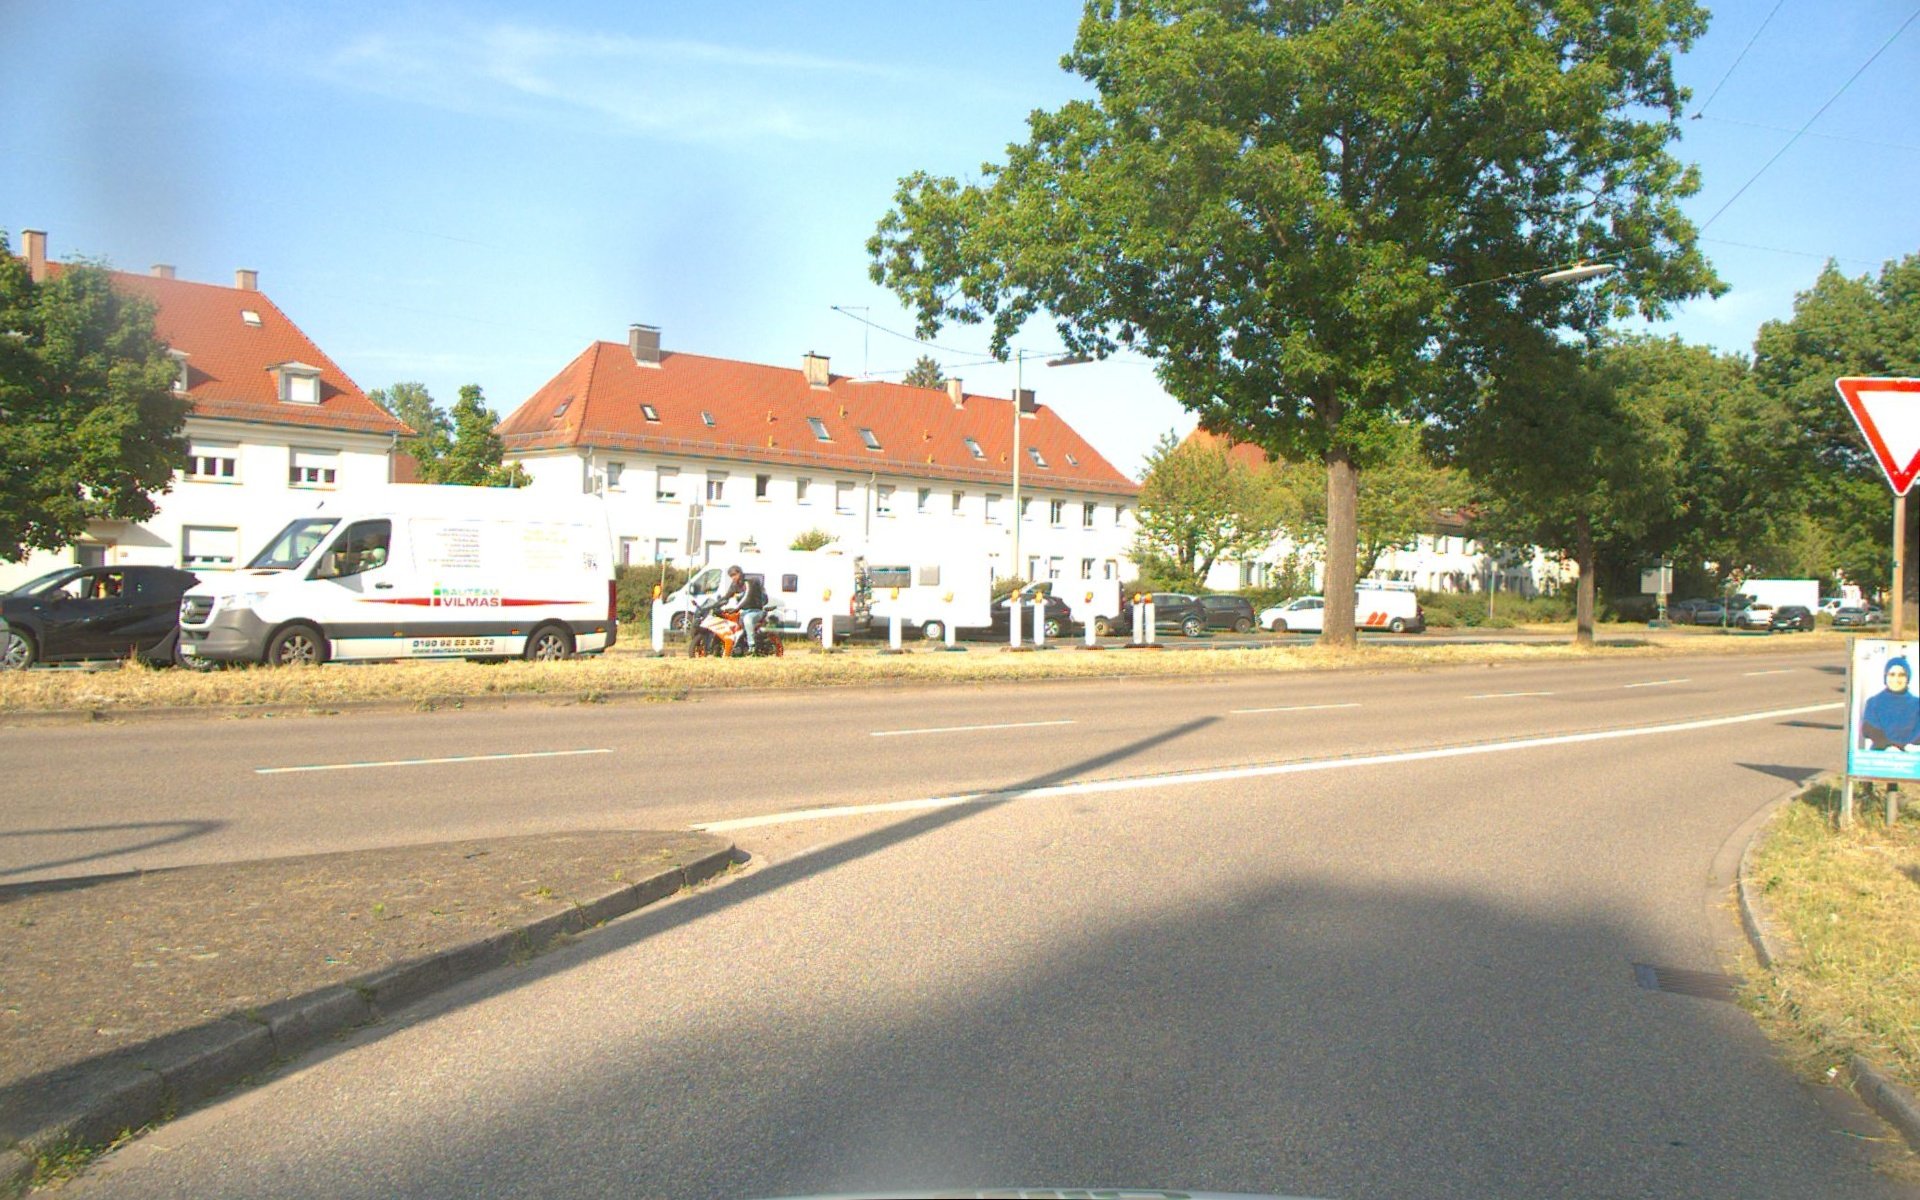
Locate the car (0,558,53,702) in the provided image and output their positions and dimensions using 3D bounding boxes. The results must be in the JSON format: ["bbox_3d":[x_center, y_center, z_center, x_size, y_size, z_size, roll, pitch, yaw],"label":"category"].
[{"bbox_3d":[-12.628,0.307,17.458,1.809,1.590,5.075,1,0,44],"label":"car"}]

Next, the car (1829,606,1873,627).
[{"bbox_3d":[66.756,1.255,123.894,1.884,1.476,4.252,0,-2,43],"label":"car"}]

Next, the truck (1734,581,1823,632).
[{"bbox_3d":[58.018,0.443,117.273,5.381,3.525,1.997,1,0,-7],"label":"truck"}]

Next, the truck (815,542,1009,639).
[{"bbox_3d":[-1.502,-0.300,51.938,5.937,2.904,1.895,1,0,-2],"label":"truck"}]

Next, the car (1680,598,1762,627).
[{"bbox_3d":[49.985,0.815,108.669,4.433,1.753,2.000,1,0,0],"label":"car"}]

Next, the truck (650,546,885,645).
[{"bbox_3d":[-5.435,-0.142,47.117,6.202,2.568,2.279,2,0,9],"label":"truck"}]

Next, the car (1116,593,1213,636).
[{"bbox_3d":[7.588,0.541,61.486,3.415,1.540,1.896,1,0,2],"label":"car"}]

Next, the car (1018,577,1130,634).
[{"bbox_3d":[4.069,0.182,59.216,3.818,1.953,1.895,1,0,-2],"label":"car"}]

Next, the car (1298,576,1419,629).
[{"bbox_3d":[17.681,0.102,73.582,4.863,2.271,1.999,1,0,-2],"label":"car"}]

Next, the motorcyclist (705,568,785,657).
[{"bbox_3d":[-3.385,0.196,26.075,0.668,1.375,1.062,1,0,43],"label":"motorcyclist"}]

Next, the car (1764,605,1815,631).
[{"bbox_3d":[46.999,1.019,93.693,1.684,1.377,3.978,1,0,40],"label":"car"}]

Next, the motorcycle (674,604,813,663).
[{"bbox_3d":[-3.391,0.521,26.080,0.679,0.882,2.264,1,0,43],"label":"motorcycle"}]

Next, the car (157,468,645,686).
[{"bbox_3d":[-7.514,-0.257,22.900,1.966,2.629,6.186,1,0,44],"label":"car"}]

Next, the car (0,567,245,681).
[{"bbox_3d":[-12.217,0.313,22.833,1.687,1.478,3.972,1,0,44],"label":"car"}]

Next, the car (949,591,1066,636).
[{"bbox_3d":[1.619,0.444,56.867,3.820,1.481,1.894,1,0,-5],"label":"car"}]

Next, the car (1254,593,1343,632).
[{"bbox_3d":[14.078,0.510,68.939,3.350,1.540,1.897,1,0,2],"label":"car"}]

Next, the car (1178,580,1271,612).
[{"bbox_3d":[14.732,-0.243,92.306,4.894,1.749,1.987,1,0,44],"label":"car"}]

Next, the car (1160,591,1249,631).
[{"bbox_3d":[9.819,0.429,66.608,3.350,1.540,1.897,1,0,2],"label":"car"}]
